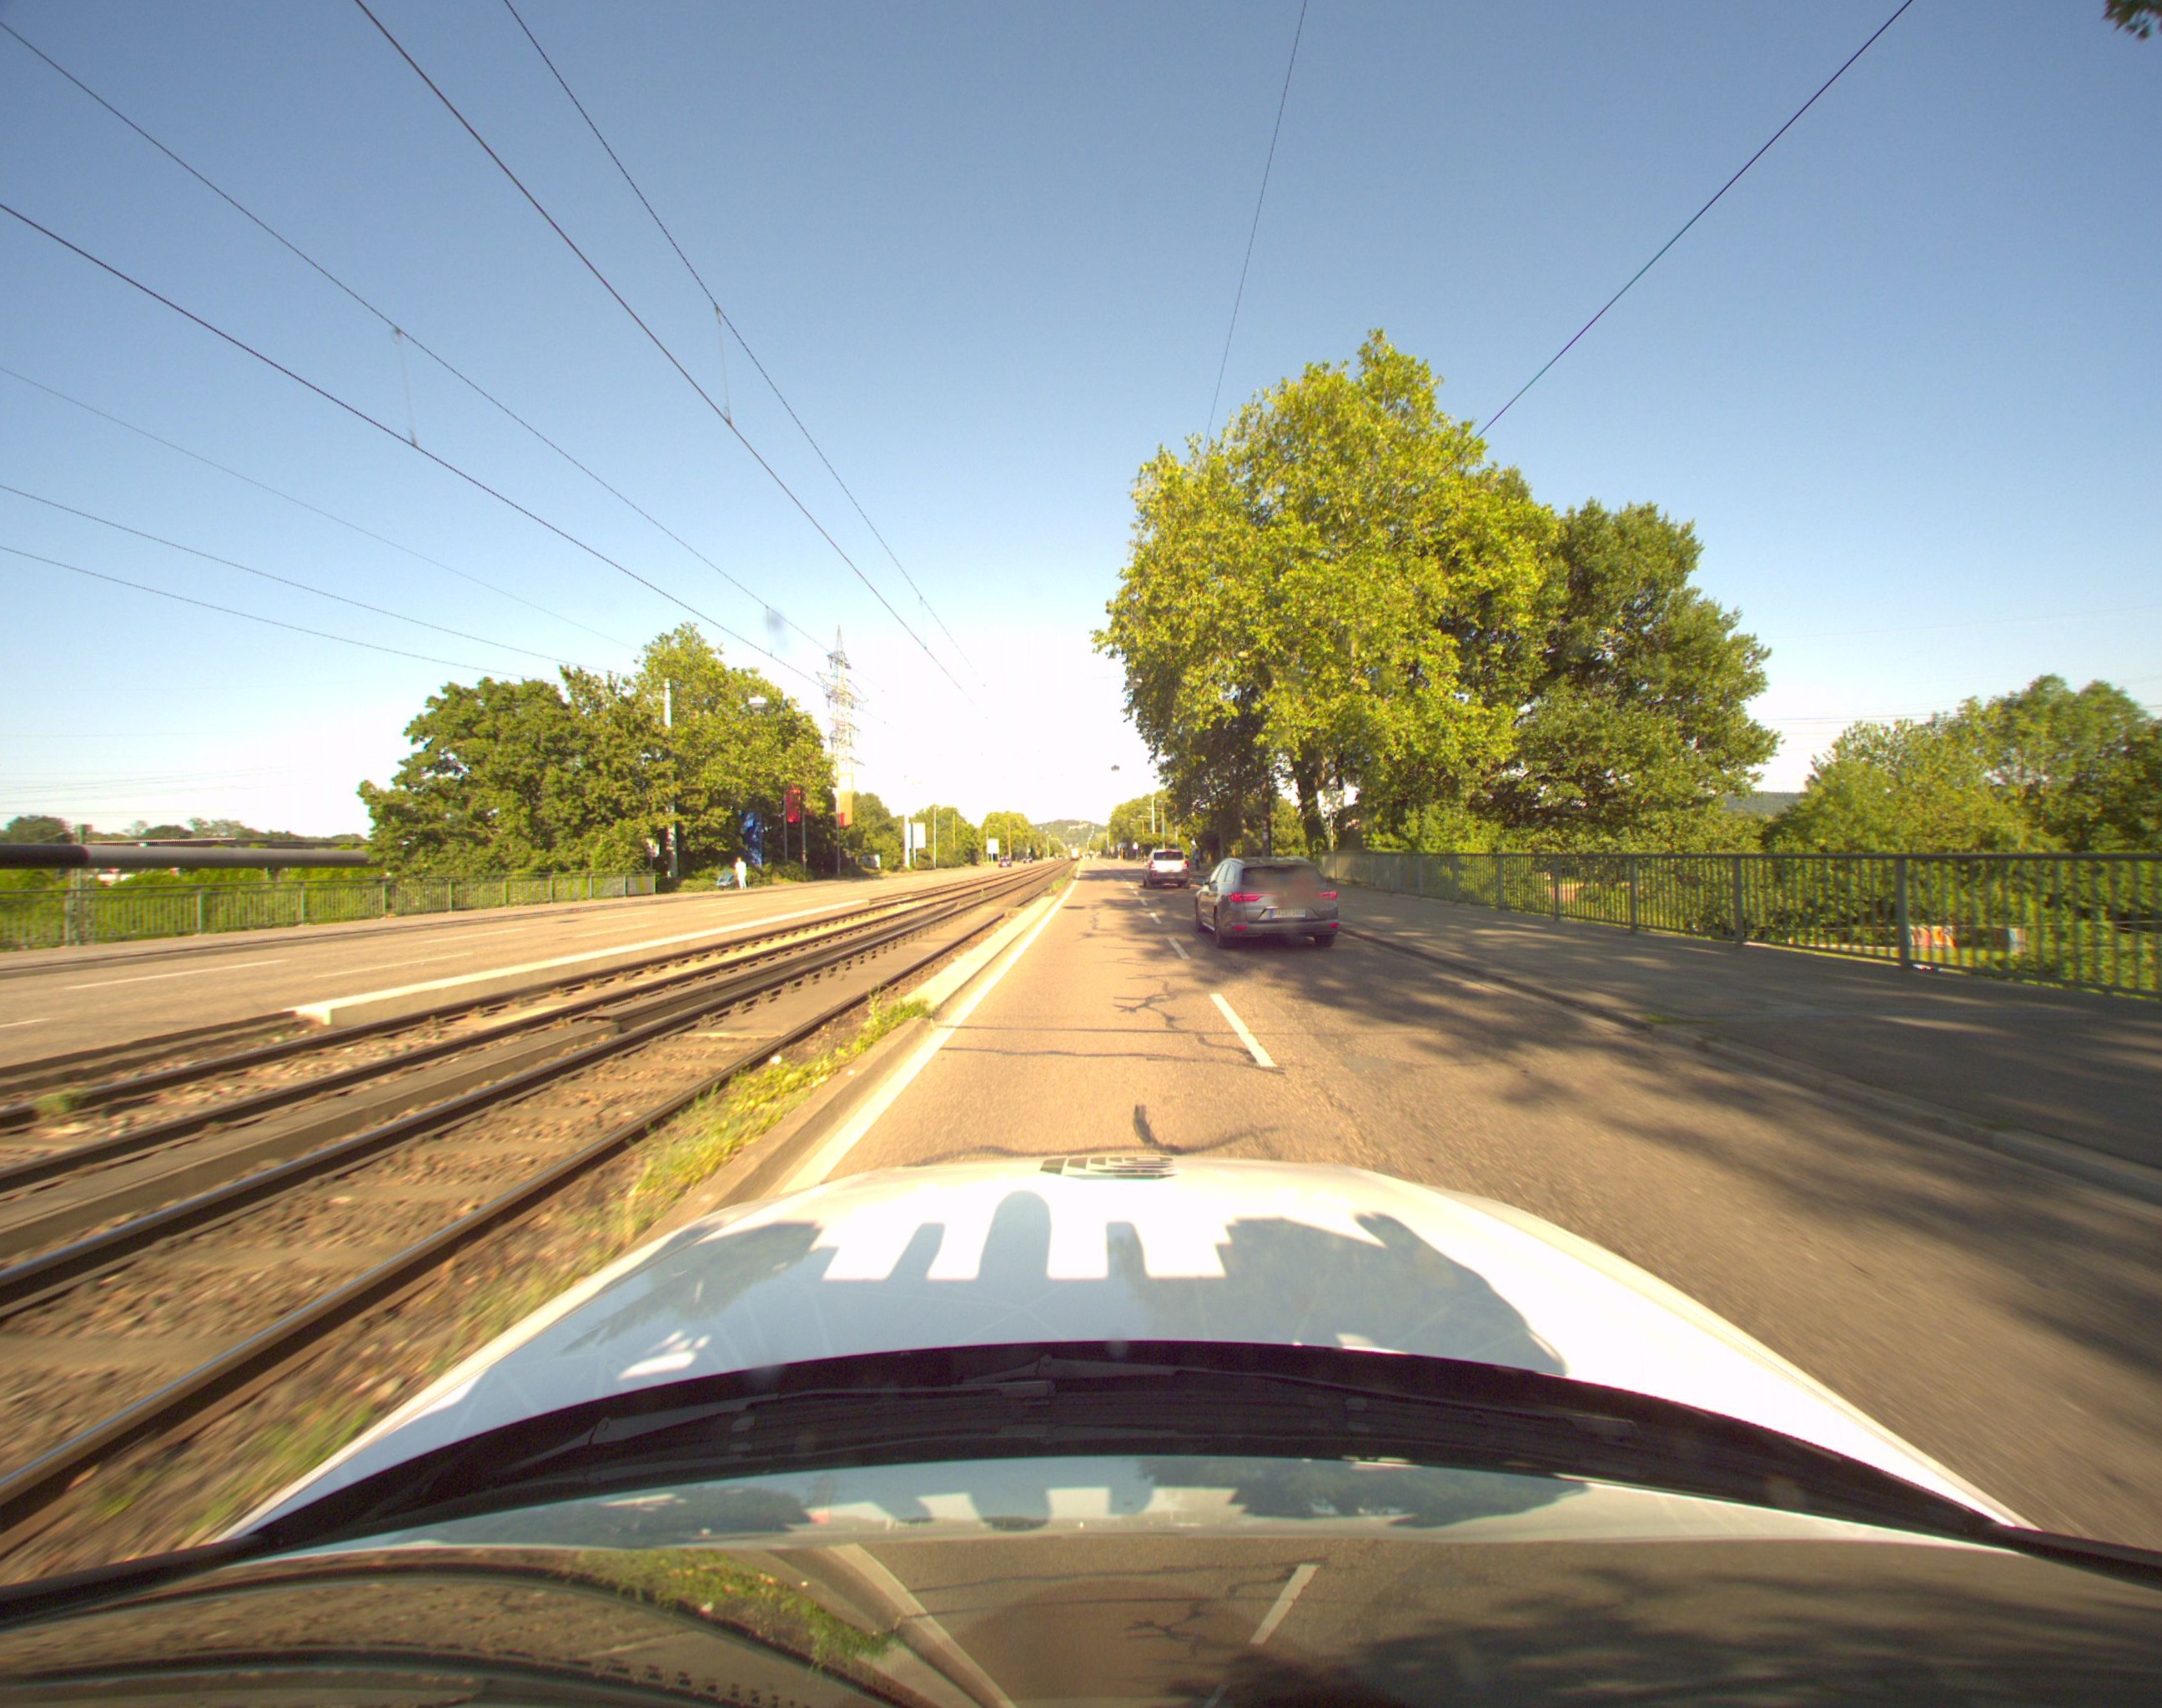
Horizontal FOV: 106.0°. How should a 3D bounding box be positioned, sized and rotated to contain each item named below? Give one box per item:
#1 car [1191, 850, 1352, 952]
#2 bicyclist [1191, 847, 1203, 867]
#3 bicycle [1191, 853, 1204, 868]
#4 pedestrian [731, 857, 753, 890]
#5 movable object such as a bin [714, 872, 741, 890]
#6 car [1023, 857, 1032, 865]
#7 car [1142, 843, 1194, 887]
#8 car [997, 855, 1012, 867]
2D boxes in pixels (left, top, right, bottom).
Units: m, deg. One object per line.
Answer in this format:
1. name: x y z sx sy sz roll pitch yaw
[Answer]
1. car: 3.114 0.695 14.317 1.859 1.467 4.668 -1 0 2
2. bicyclist: 8.807 0.222 61.933 0.791 1.460 1.113 -4 0 4
3. bicycle: 8.841 0.496 62.006 0.791 1.094 1.896 -4 0 4
4. pedestrian: -18.831 1.076 45.214 0.718 1.756 0.840 1 -1 23
5. movable object such as a bin: -19.219 1.445 44.305 0.718 0.961 1.107 1 -1 23
6. car: -11.946 1.533 182.163 1.900 1.643 3.998 1 1 -2
7. car: 3.751 0.426 35.641 1.877 1.795 4.001 1 1 1
8. car: -11.724 1.072 125.562 1.856 1.720 4.001 -1 1 1
